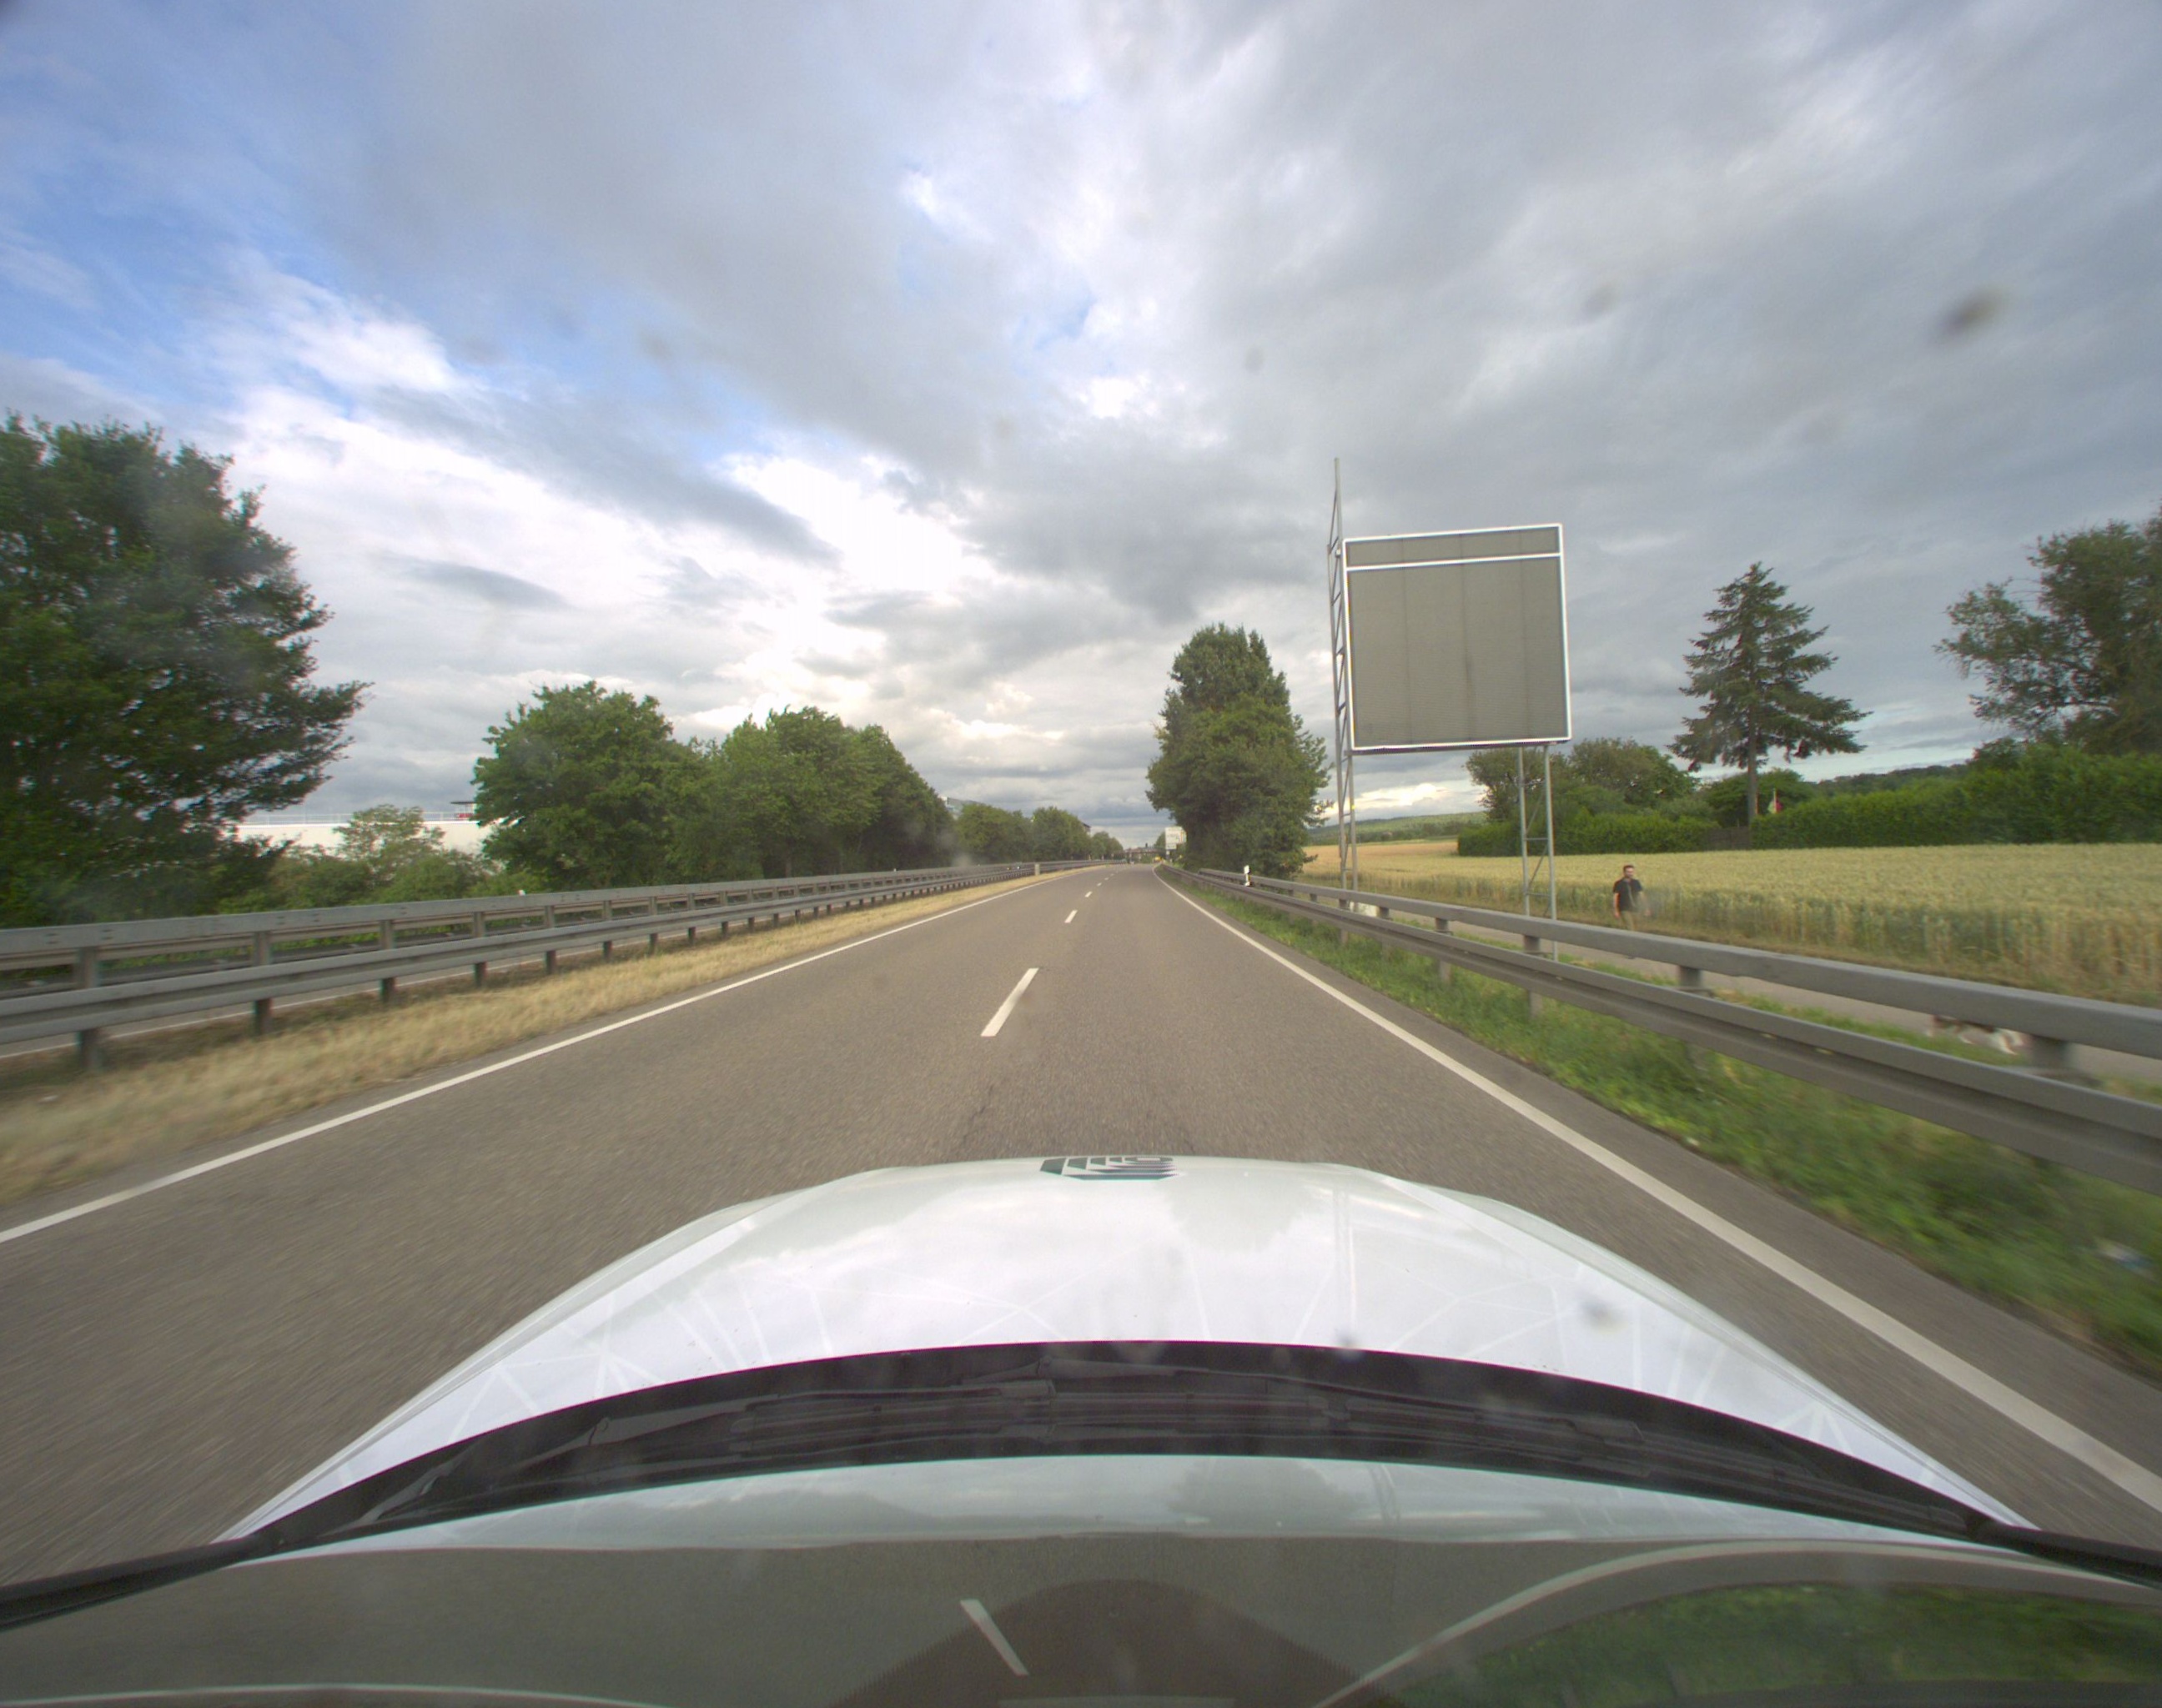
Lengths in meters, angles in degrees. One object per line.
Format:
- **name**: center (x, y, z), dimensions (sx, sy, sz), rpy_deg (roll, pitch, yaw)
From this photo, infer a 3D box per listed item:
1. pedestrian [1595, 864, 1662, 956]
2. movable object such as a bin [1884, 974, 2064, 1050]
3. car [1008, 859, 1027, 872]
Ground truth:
- **pedestrian**: center (11.421, 1.144, 17.024), dimensions (0.768, 1.868, 0.940), rpy_deg (0, -1, 1)
- **movable object such as a bin**: center (10.205, 1.791, 9.367), dimensions (0.729, 0.645, 1.236), rpy_deg (0, -1, 2)
- **car**: center (-8.296, 1.507, 107.328), dimensions (1.817, 1.544, 4.591), rpy_deg (-3, -1, 4)
